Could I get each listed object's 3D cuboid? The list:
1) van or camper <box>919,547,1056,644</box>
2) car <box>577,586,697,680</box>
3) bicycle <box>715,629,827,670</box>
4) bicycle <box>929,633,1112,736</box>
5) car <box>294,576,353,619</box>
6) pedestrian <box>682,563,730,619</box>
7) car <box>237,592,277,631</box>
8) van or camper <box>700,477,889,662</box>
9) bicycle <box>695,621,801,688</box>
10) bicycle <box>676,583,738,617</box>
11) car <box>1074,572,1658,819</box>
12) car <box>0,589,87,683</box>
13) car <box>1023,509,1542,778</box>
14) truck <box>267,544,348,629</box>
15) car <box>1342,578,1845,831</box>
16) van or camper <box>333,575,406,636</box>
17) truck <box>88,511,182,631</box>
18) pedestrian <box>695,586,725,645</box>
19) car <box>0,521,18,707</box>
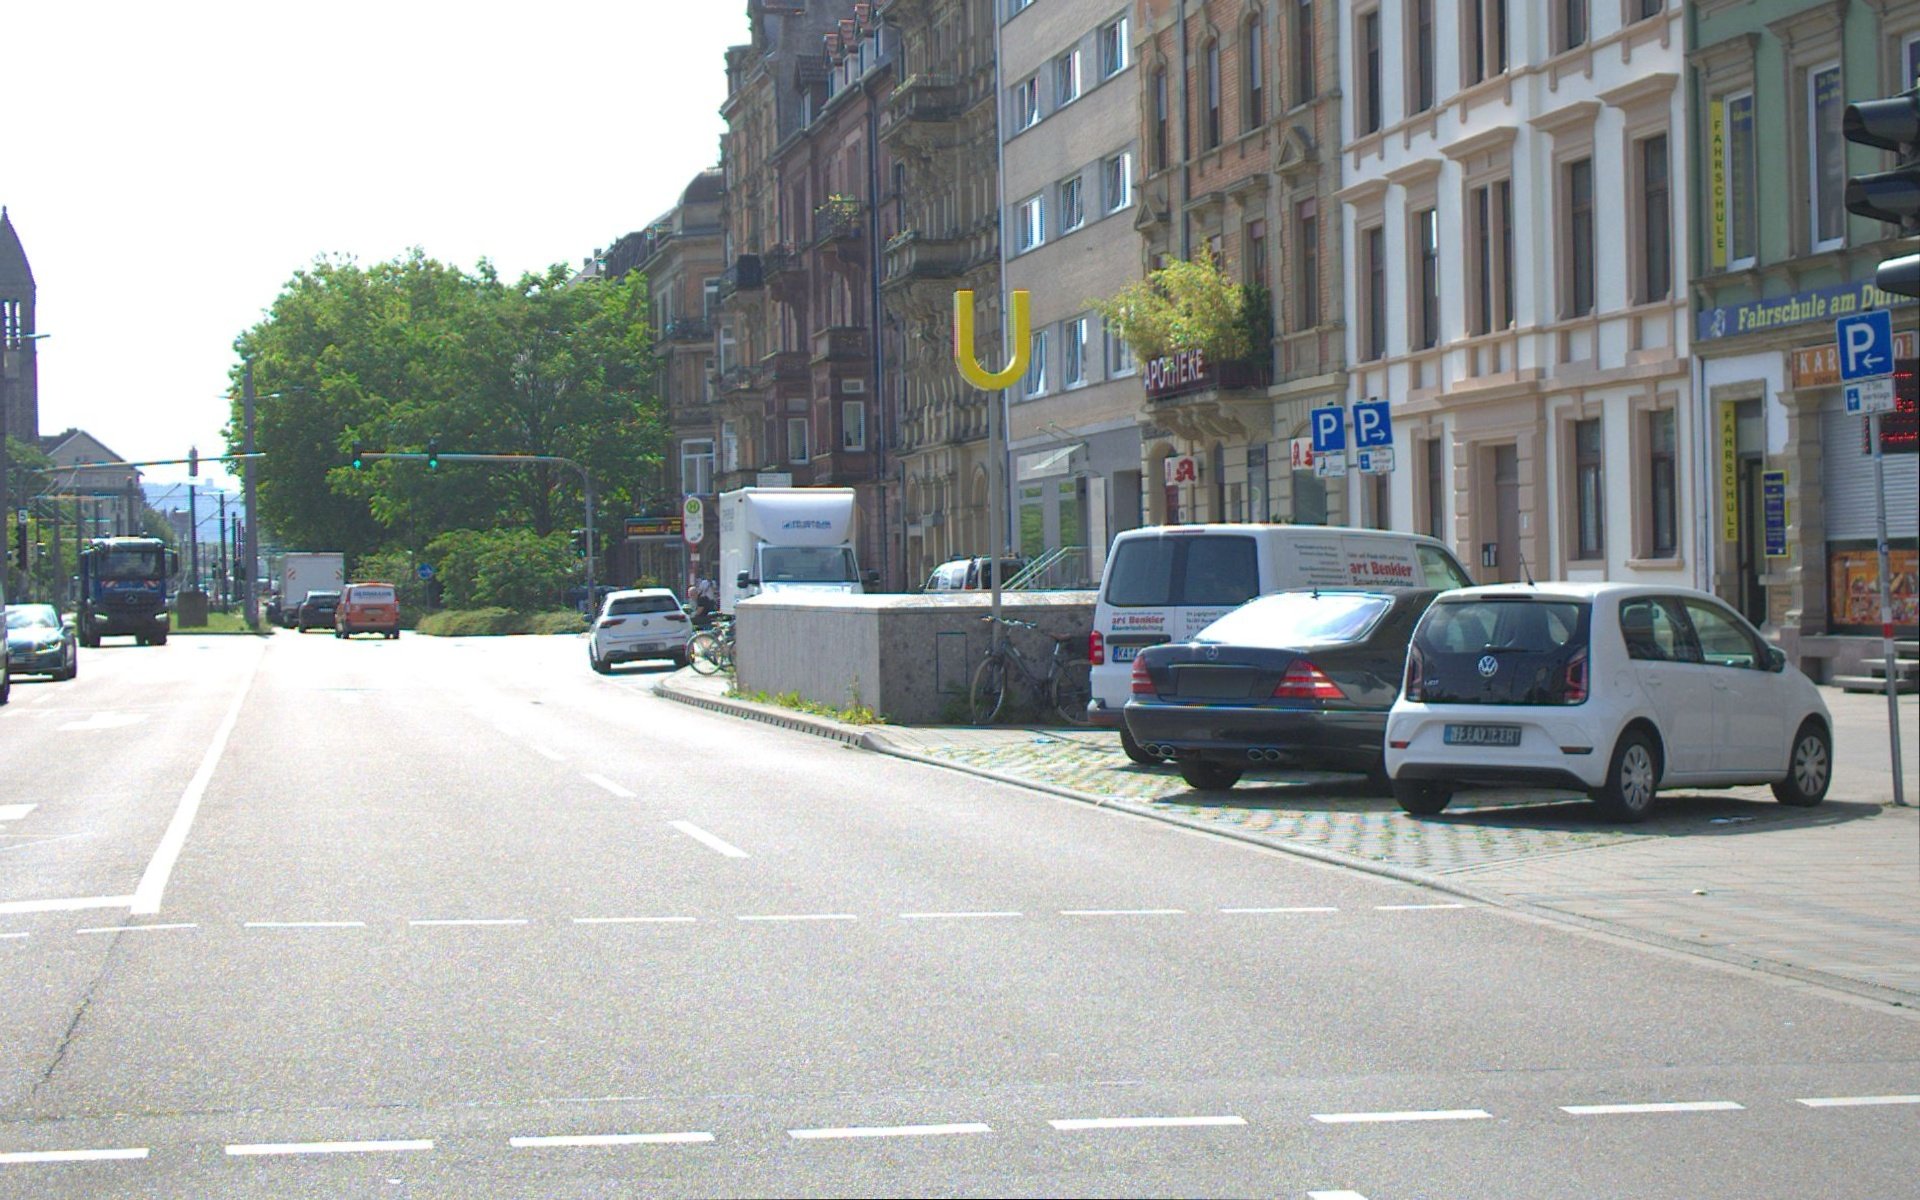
[{"bbox_3d":[0.577,-0.139,77.627,1.993,1.898,5.300,-3,3,-11],"label":"van or camper"},{"bbox_3d":[-5.958,0.580,63.030,1.790,1.432,4.345,-5,2,-9],"label":"car"},{"bbox_3d":[-2.969,0.767,53.926,1.769,0.584,0.637,1,3,39],"label":"bicycle"},{"bbox_3d":[0.621,0.865,35.193,1.772,1.000,0.513,1,1,-16],"label":"bicycle"},{"bbox_3d":[-23.558,-0.109,127.205,1.993,1.503,4.001,-1,1,-13],"label":"car"},{"bbox_3d":[-6.066,-0.225,82.064,0.821,1.311,0.743,2,2,41],"label":"pedestrian"},{"bbox_3d":[-32.691,0.554,159.936,1.770,1.656,4.001,1,-2,-11],"label":"car"},{"bbox_3d":[-3.286,-0.687,66.234,2.711,3.319,7.642,-1,2,-9],"label":"van or camper"},{"bbox_3d":[-3.597,0.915,58.277,1.758,1.081,0.372,-1,3,-23],"label":"bicycle"},{"bbox_3d":[-9.285,-0.014,126.240,2.189,1.176,0.684,-1,2,-15],"label":"bicycle"},{"bbox_3d":[3.064,0.602,24.897,1.889,1.463,5.053,1,2,37],"label":"car"},{"bbox_3d":[-17.506,0.664,64.409,1.849,1.450,4.556,-2,3,-10],"label":"car"},{"bbox_3d":[2.826,0.330,29.071,2.077,2.078,4.889,-2,-1,37],"label":"car"},{"bbox_3d":[-27.753,-0.533,145.965,3.169,3.275,7.298,0,-2,-12],"label":"truck"},{"bbox_3d":[4.135,0.602,22.105,1.718,1.435,3.504,2,2,38],"label":"car"},{"bbox_3d":[-19.916,0.212,115.840,2.008,1.908,4.524,1,-2,-15],"label":"van or camper"},{"bbox_3d":[-26.188,-0.915,109.308,2.462,3.636,7.451,-1,1,-10],"label":"truck"},{"bbox_3d":[-8.717,0.528,119.817,0.885,2.007,0.996,1,1,-11],"label":"pedestrian"},{"bbox_3d":[-14.887,0.236,49.661,1.993,2.612,5.582,-2,2,-11],"label":"car"}]
